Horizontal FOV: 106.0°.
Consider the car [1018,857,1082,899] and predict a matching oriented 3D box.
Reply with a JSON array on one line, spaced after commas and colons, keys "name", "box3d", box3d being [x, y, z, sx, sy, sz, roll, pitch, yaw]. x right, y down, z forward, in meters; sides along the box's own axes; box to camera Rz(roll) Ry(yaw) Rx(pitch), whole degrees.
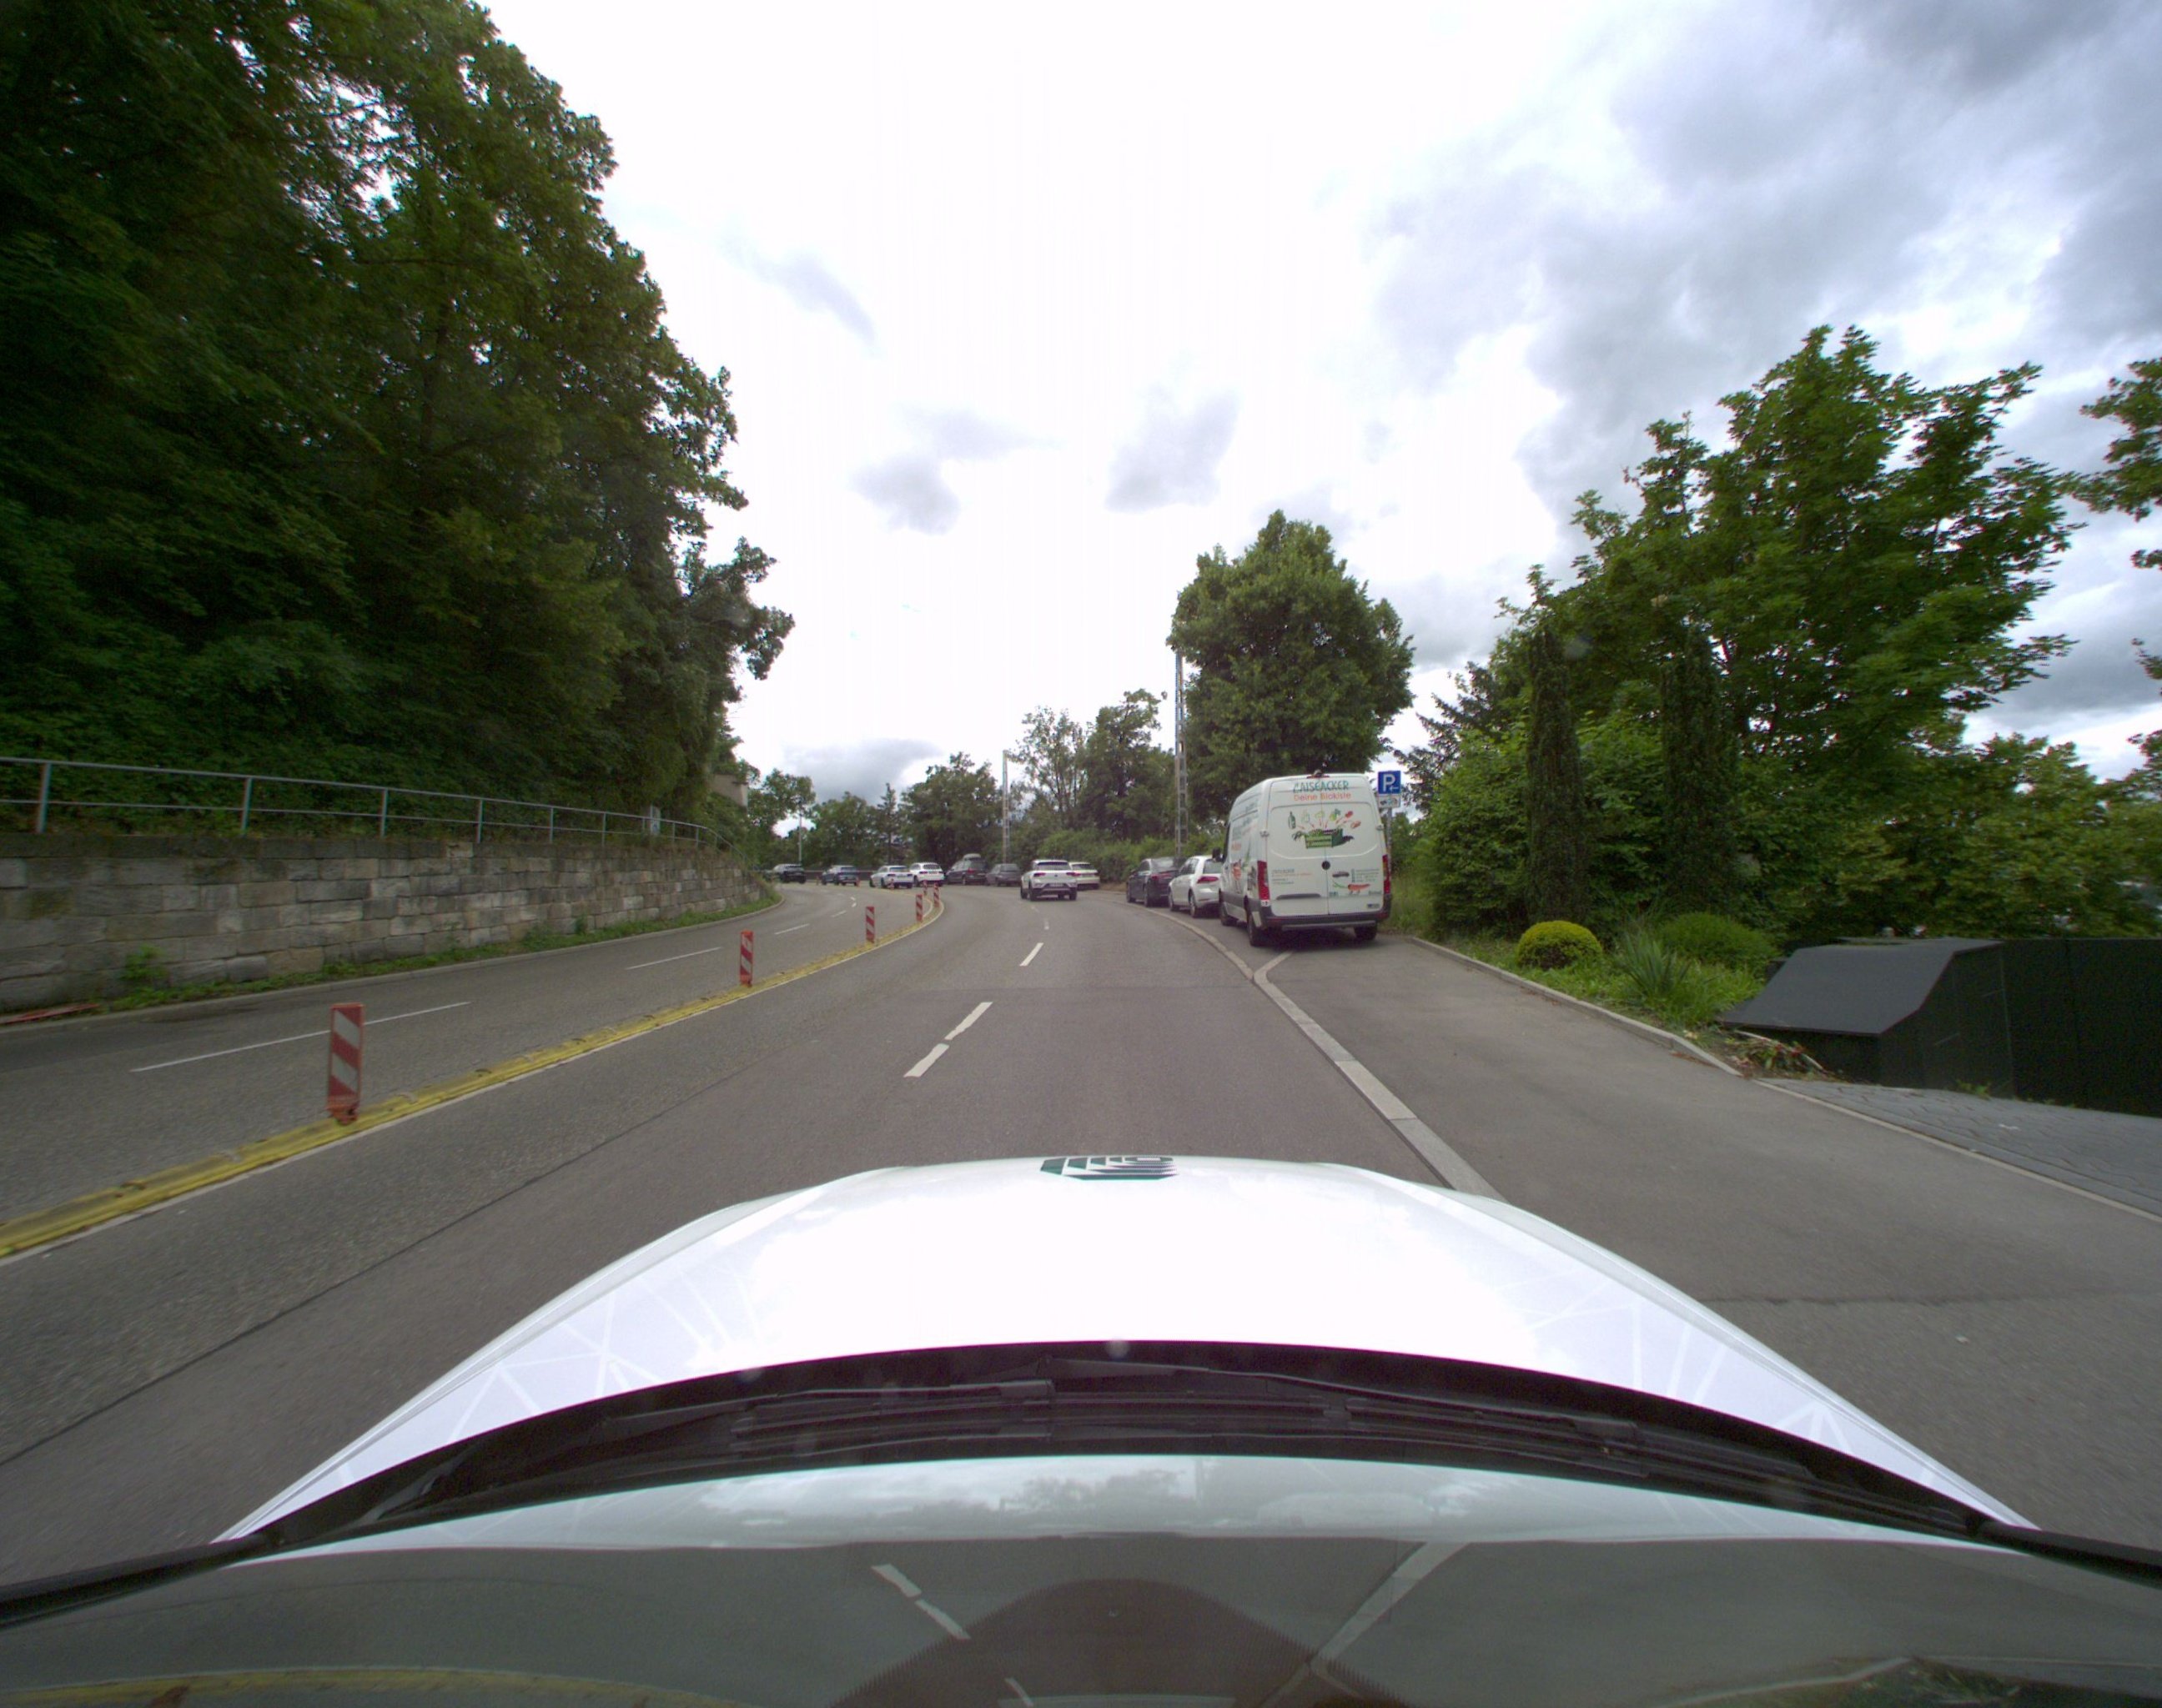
[{"name": "car", "box3d": [-1.275, 0.900, 31.800, 1.869, 1.537, 3.787, 0, -1, -12]}]

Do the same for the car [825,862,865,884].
[{"name": "car", "box3d": [-18.014, 1.432, 62.022, 2.006, 1.541, 3.971, 3, -2, -31]}]

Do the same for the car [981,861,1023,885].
[{"name": "car", "box3d": [-5.053, 1.219, 51.942, 1.647, 1.464, 3.971, 1, -2, -22]}]

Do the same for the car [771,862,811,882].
[{"name": "car", "box3d": [-24.988, 1.530, 70.004, 1.831, 1.690, 3.952, 3, -3, -42]}]

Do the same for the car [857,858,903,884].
[{"name": "car", "box3d": [-14.041, 1.182, 56.740, 2.007, 1.739, 3.960, 3, -2, -32]}]

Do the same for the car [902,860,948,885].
[{"name": "car", "box3d": [-10.702, 1.281, 55.781, 2.005, 1.586, 3.963, 3, -2, -28]}]

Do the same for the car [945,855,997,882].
[{"name": "car", "box3d": [-7.751, 1.024, 56.947, 1.811, 1.772, 4.560, 1, -2, -33]}]

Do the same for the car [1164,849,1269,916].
[{"name": "car", "box3d": [3.248, 0.672, 20.268, 1.697, 1.464, 3.829, -2, -1, -4]}]

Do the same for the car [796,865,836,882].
[{"name": "car", "box3d": [-25.096, 1.812, 77.032, 3.490, 1.526, 1.710, 0, -2, 34]}]

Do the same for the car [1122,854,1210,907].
[{"name": "car", "box3d": [2.536, 0.763, 25.469, 1.699, 1.464, 4.651, -1, 0, -8]}]

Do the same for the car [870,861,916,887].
[{"name": "car", "box3d": [-12.071, 1.275, 52.133, 1.917, 1.574, 3.964, 3, -2, -27]}]

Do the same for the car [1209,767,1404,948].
[{"name": "car", "box3d": [3.726, 0.074, 14.735, 2.076, 2.523, 5.849, -3, -1, 3]}]

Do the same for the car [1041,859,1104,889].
[{"name": "car", "box3d": [-0.485, 1.040, 42.070, 1.786, 1.418, 3.967, -2, -1, -25]}]
